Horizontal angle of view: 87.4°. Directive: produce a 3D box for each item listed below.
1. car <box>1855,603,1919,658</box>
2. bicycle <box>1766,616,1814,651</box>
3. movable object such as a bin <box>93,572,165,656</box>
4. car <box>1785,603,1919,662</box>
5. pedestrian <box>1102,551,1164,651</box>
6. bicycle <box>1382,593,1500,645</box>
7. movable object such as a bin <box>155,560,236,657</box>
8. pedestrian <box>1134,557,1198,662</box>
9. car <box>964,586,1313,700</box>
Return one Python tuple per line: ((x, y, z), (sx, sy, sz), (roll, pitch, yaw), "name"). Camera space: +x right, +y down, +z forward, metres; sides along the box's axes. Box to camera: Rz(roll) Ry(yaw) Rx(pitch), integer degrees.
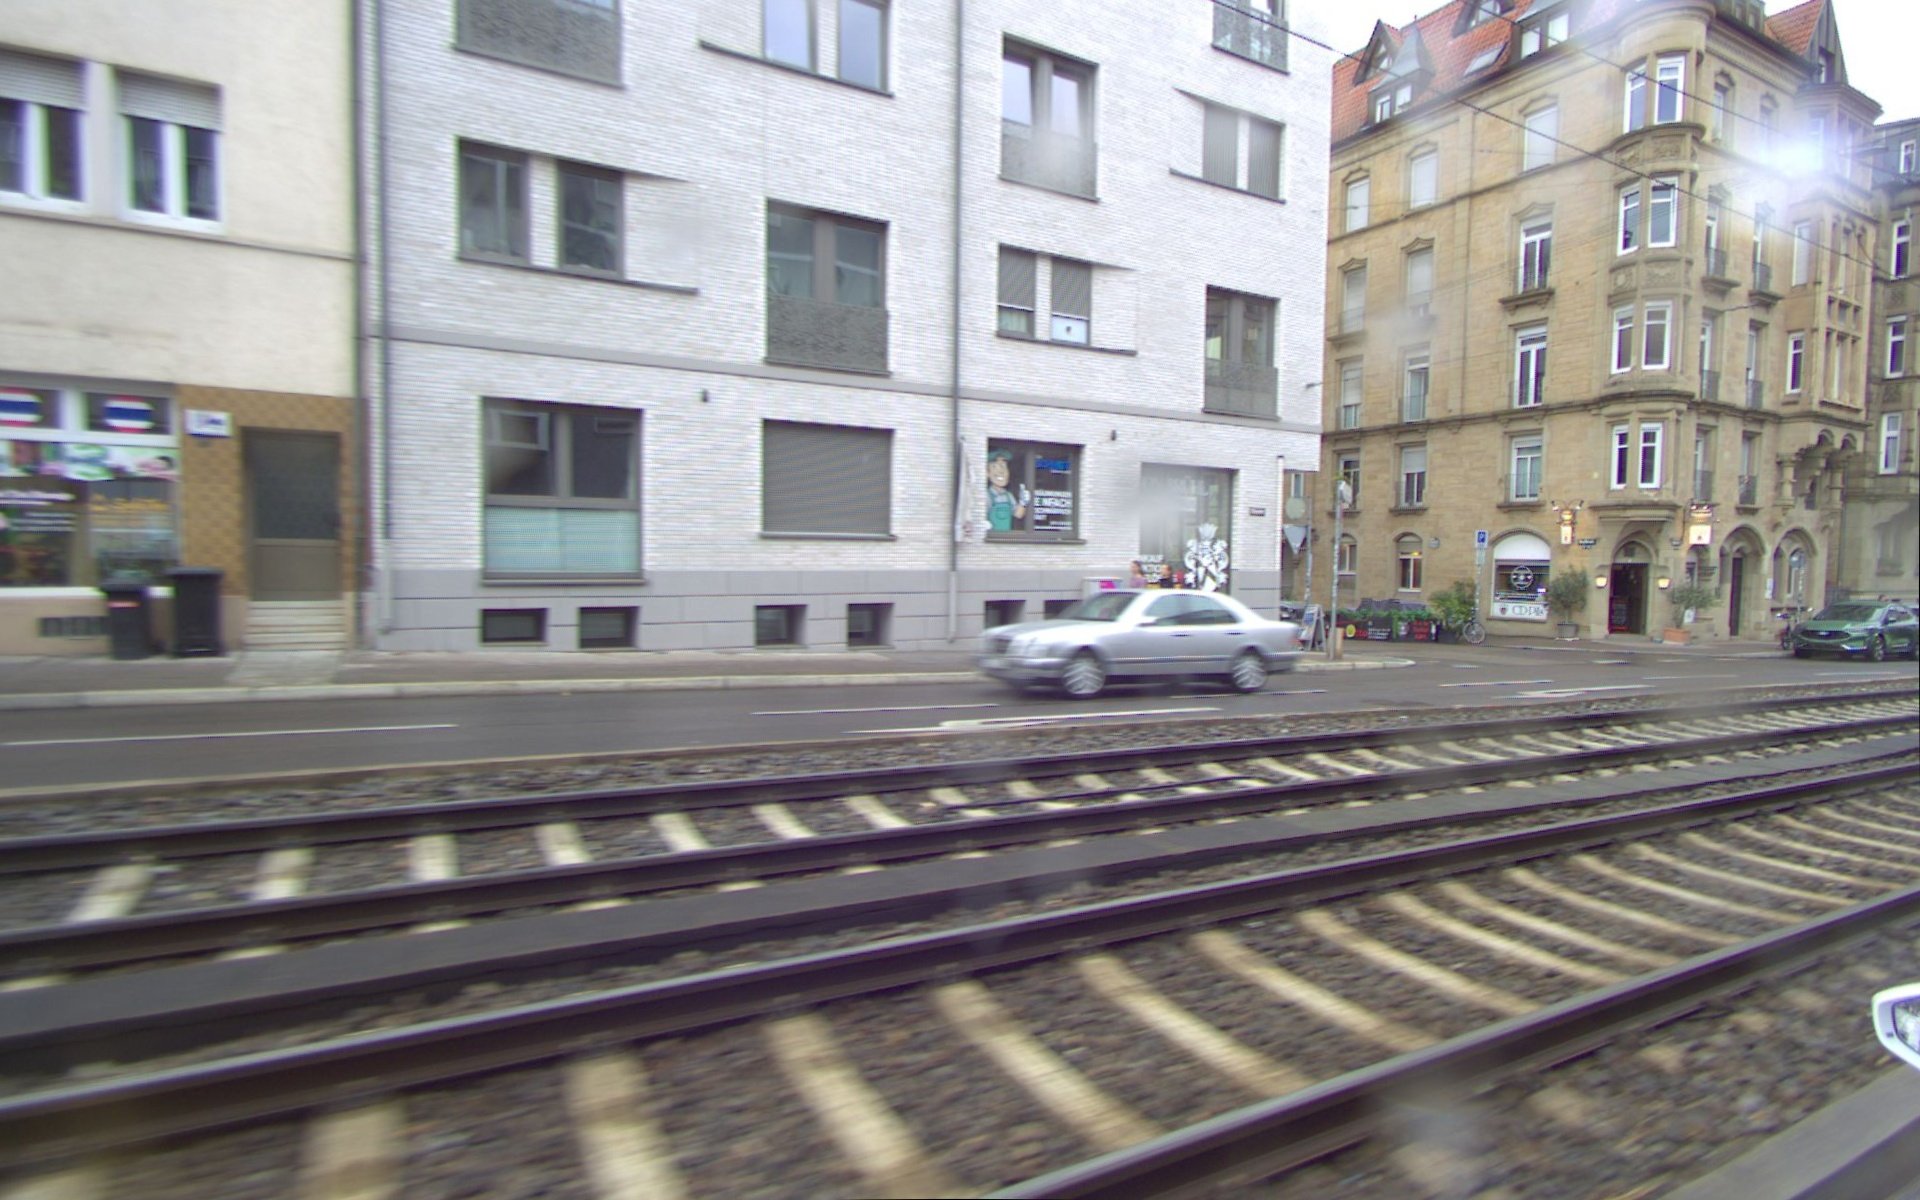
((29.919, 0.931, 31.156), (4.469, 1.618, 1.799), (1, 0, -29), "car")
((25.415, 1.012, 30.743), (2.058, 1.014, 0.594), (1, 0, -35), "bicycle")
((-9.756, 0.161, 11.809), (0.553, 0.923, 0.590), (1, 5, -30), "movable object such as a bin")
((25.391, 0.895, 28.522), (3.885, 1.561, 1.715), (1, 0, -28), "car")
((3.236, 0.029, 18.791), (0.913, 1.810, 0.637), (2, -1, -31), "pedestrian")
((15.721, 0.586, 32.907), (1.584, 1.605, 3.121), (1, 0, -39), "bicycle")
((-9.165, 0.089, 12.072), (0.679, 1.088, 0.709), (1, 5, -30), "movable object such as a bin")
((3.674, 0.183, 17.928), (0.871, 1.810, 0.626), (2, -1, -31), "pedestrian")
((2.544, 0.544, 14.069), (4.702, 1.379, 1.799), (1, 0, -28), "car")
